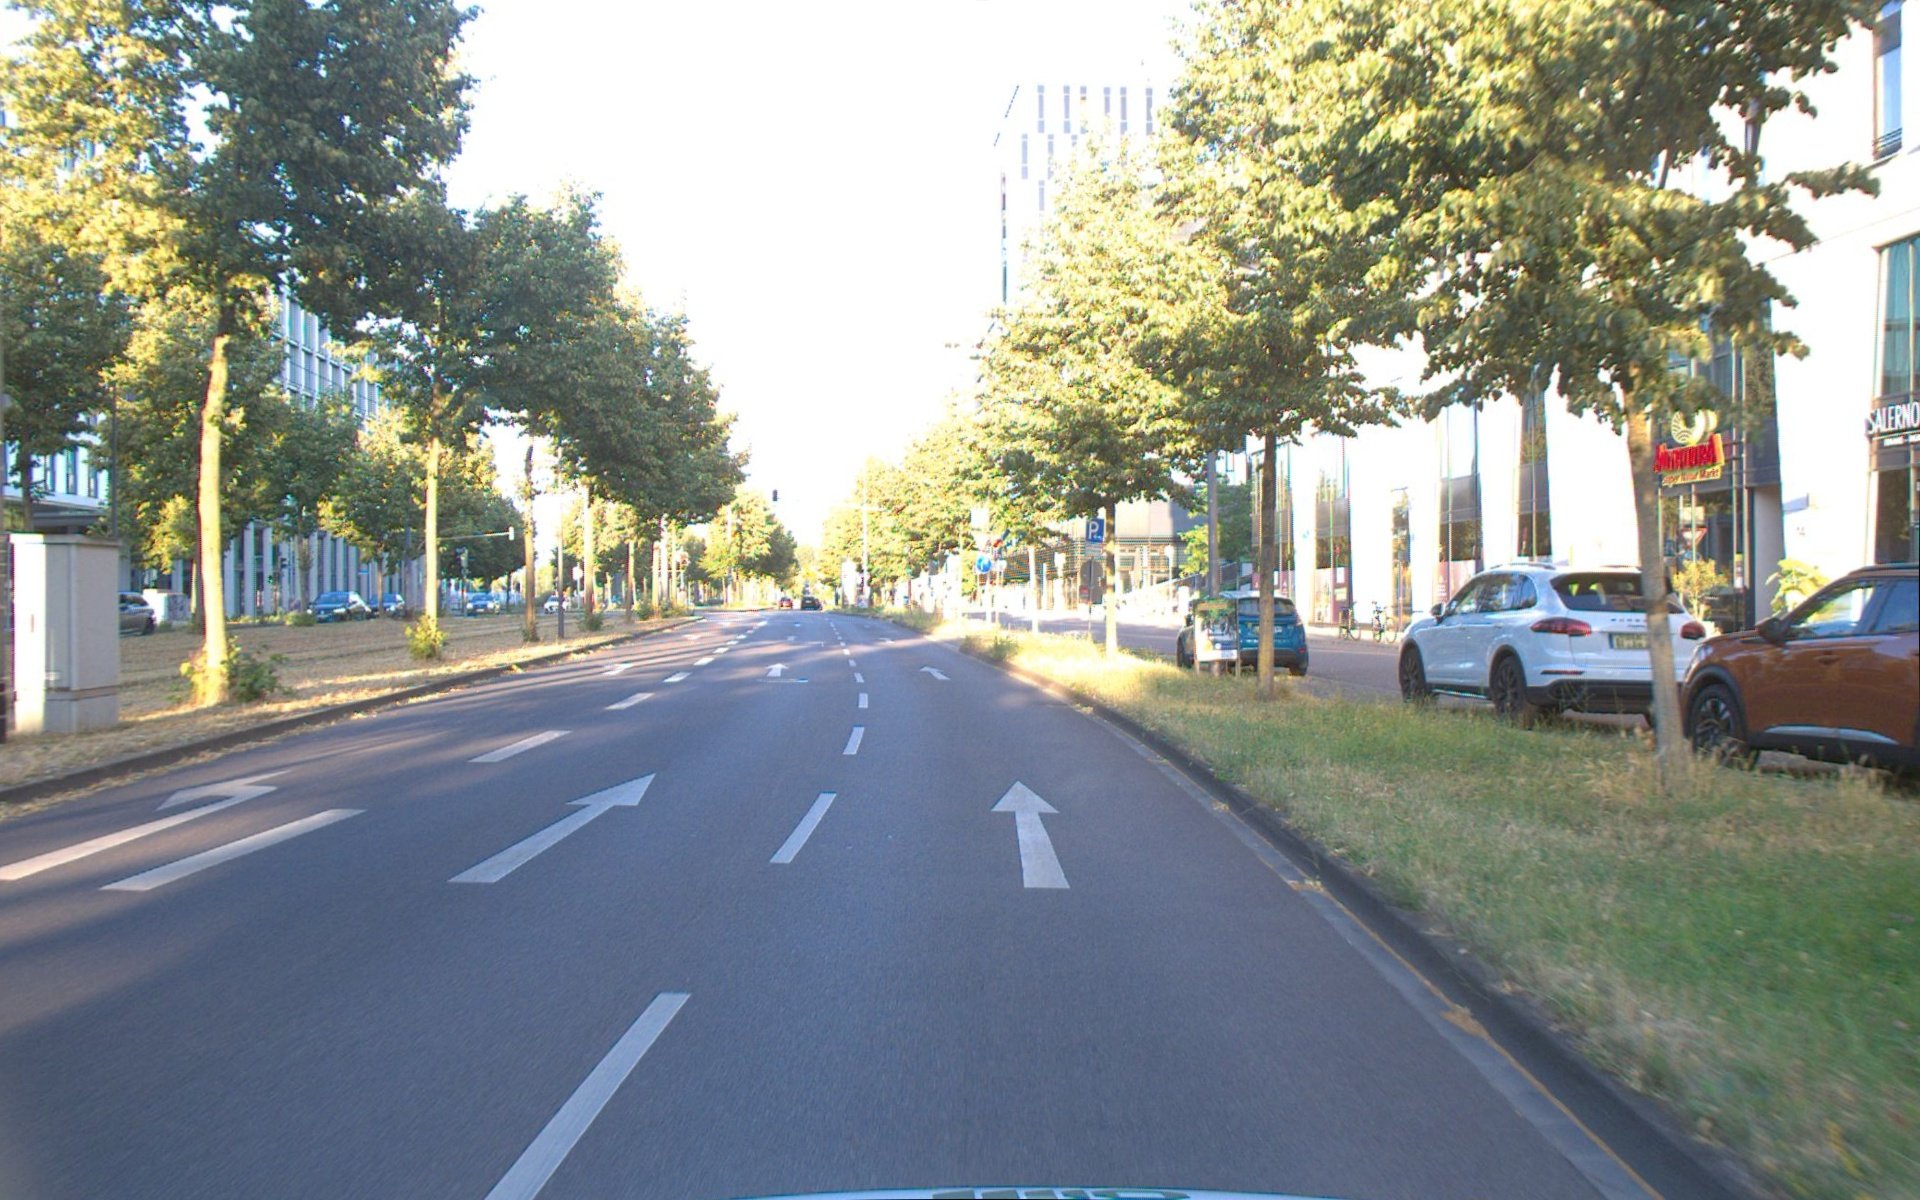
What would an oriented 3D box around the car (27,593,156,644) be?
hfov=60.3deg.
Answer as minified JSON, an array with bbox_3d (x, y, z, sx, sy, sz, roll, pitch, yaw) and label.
[{"bbox_3d":[-24.524,0.484,46.878,1.625,1.355,4.735,-1,0,-7],"label":"car"}]

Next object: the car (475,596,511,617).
[{"bbox_3d":[-31.201,0.395,110.611,1.625,1.355,4.578,0,0,-7],"label":"car"}]

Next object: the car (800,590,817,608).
[{"bbox_3d":[-17.292,-0.094,188.806,1.955,2.049,3.995,0,1,-6],"label":"car"}]

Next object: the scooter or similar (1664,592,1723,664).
[{"bbox_3d":[12.731,0.478,28.719,0.349,1.207,1.309,-2,0,-4],"label":"scooter or similar"}]

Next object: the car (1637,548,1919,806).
[{"bbox_3d":[6.587,0.475,11.209,1.818,1.556,4.477,1,0,-5],"label":"car"}]

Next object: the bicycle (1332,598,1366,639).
[{"bbox_3d":[10.817,0.507,46.042,0.437,1.091,1.773,-2,0,-1],"label":"bicycle"}]

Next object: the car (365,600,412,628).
[{"bbox_3d":[-32.197,0.751,93.281,1.625,1.528,4.184,0,0,-7],"label":"car"}]

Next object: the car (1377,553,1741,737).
[{"bbox_3d":[6.438,0.427,18.543,1.913,1.744,5.154,1,0,-4],"label":"car"}]

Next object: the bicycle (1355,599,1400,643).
[{"bbox_3d":[10.910,0.538,43.284,0.508,1.079,1.959,-3,0,-4],"label":"bicycle"}]

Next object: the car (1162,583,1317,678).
[{"bbox_3d":[4.953,0.505,29.861,1.690,1.556,4.263,1,0,-5],"label":"car"}]

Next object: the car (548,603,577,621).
[{"bbox_3d":[-31.272,0.970,130.229,1.753,1.355,3.666,0,0,-7],"label":"car"}]

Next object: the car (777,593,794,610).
[{"bbox_3d":[-21.785,0.203,206.889,2.047,2.049,3.995,0,1,-6],"label":"car"}]

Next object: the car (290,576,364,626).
[{"bbox_3d":[-27.003,0.018,70.681,1.955,2.049,3.995,-1,0,-6],"label":"car"}]
